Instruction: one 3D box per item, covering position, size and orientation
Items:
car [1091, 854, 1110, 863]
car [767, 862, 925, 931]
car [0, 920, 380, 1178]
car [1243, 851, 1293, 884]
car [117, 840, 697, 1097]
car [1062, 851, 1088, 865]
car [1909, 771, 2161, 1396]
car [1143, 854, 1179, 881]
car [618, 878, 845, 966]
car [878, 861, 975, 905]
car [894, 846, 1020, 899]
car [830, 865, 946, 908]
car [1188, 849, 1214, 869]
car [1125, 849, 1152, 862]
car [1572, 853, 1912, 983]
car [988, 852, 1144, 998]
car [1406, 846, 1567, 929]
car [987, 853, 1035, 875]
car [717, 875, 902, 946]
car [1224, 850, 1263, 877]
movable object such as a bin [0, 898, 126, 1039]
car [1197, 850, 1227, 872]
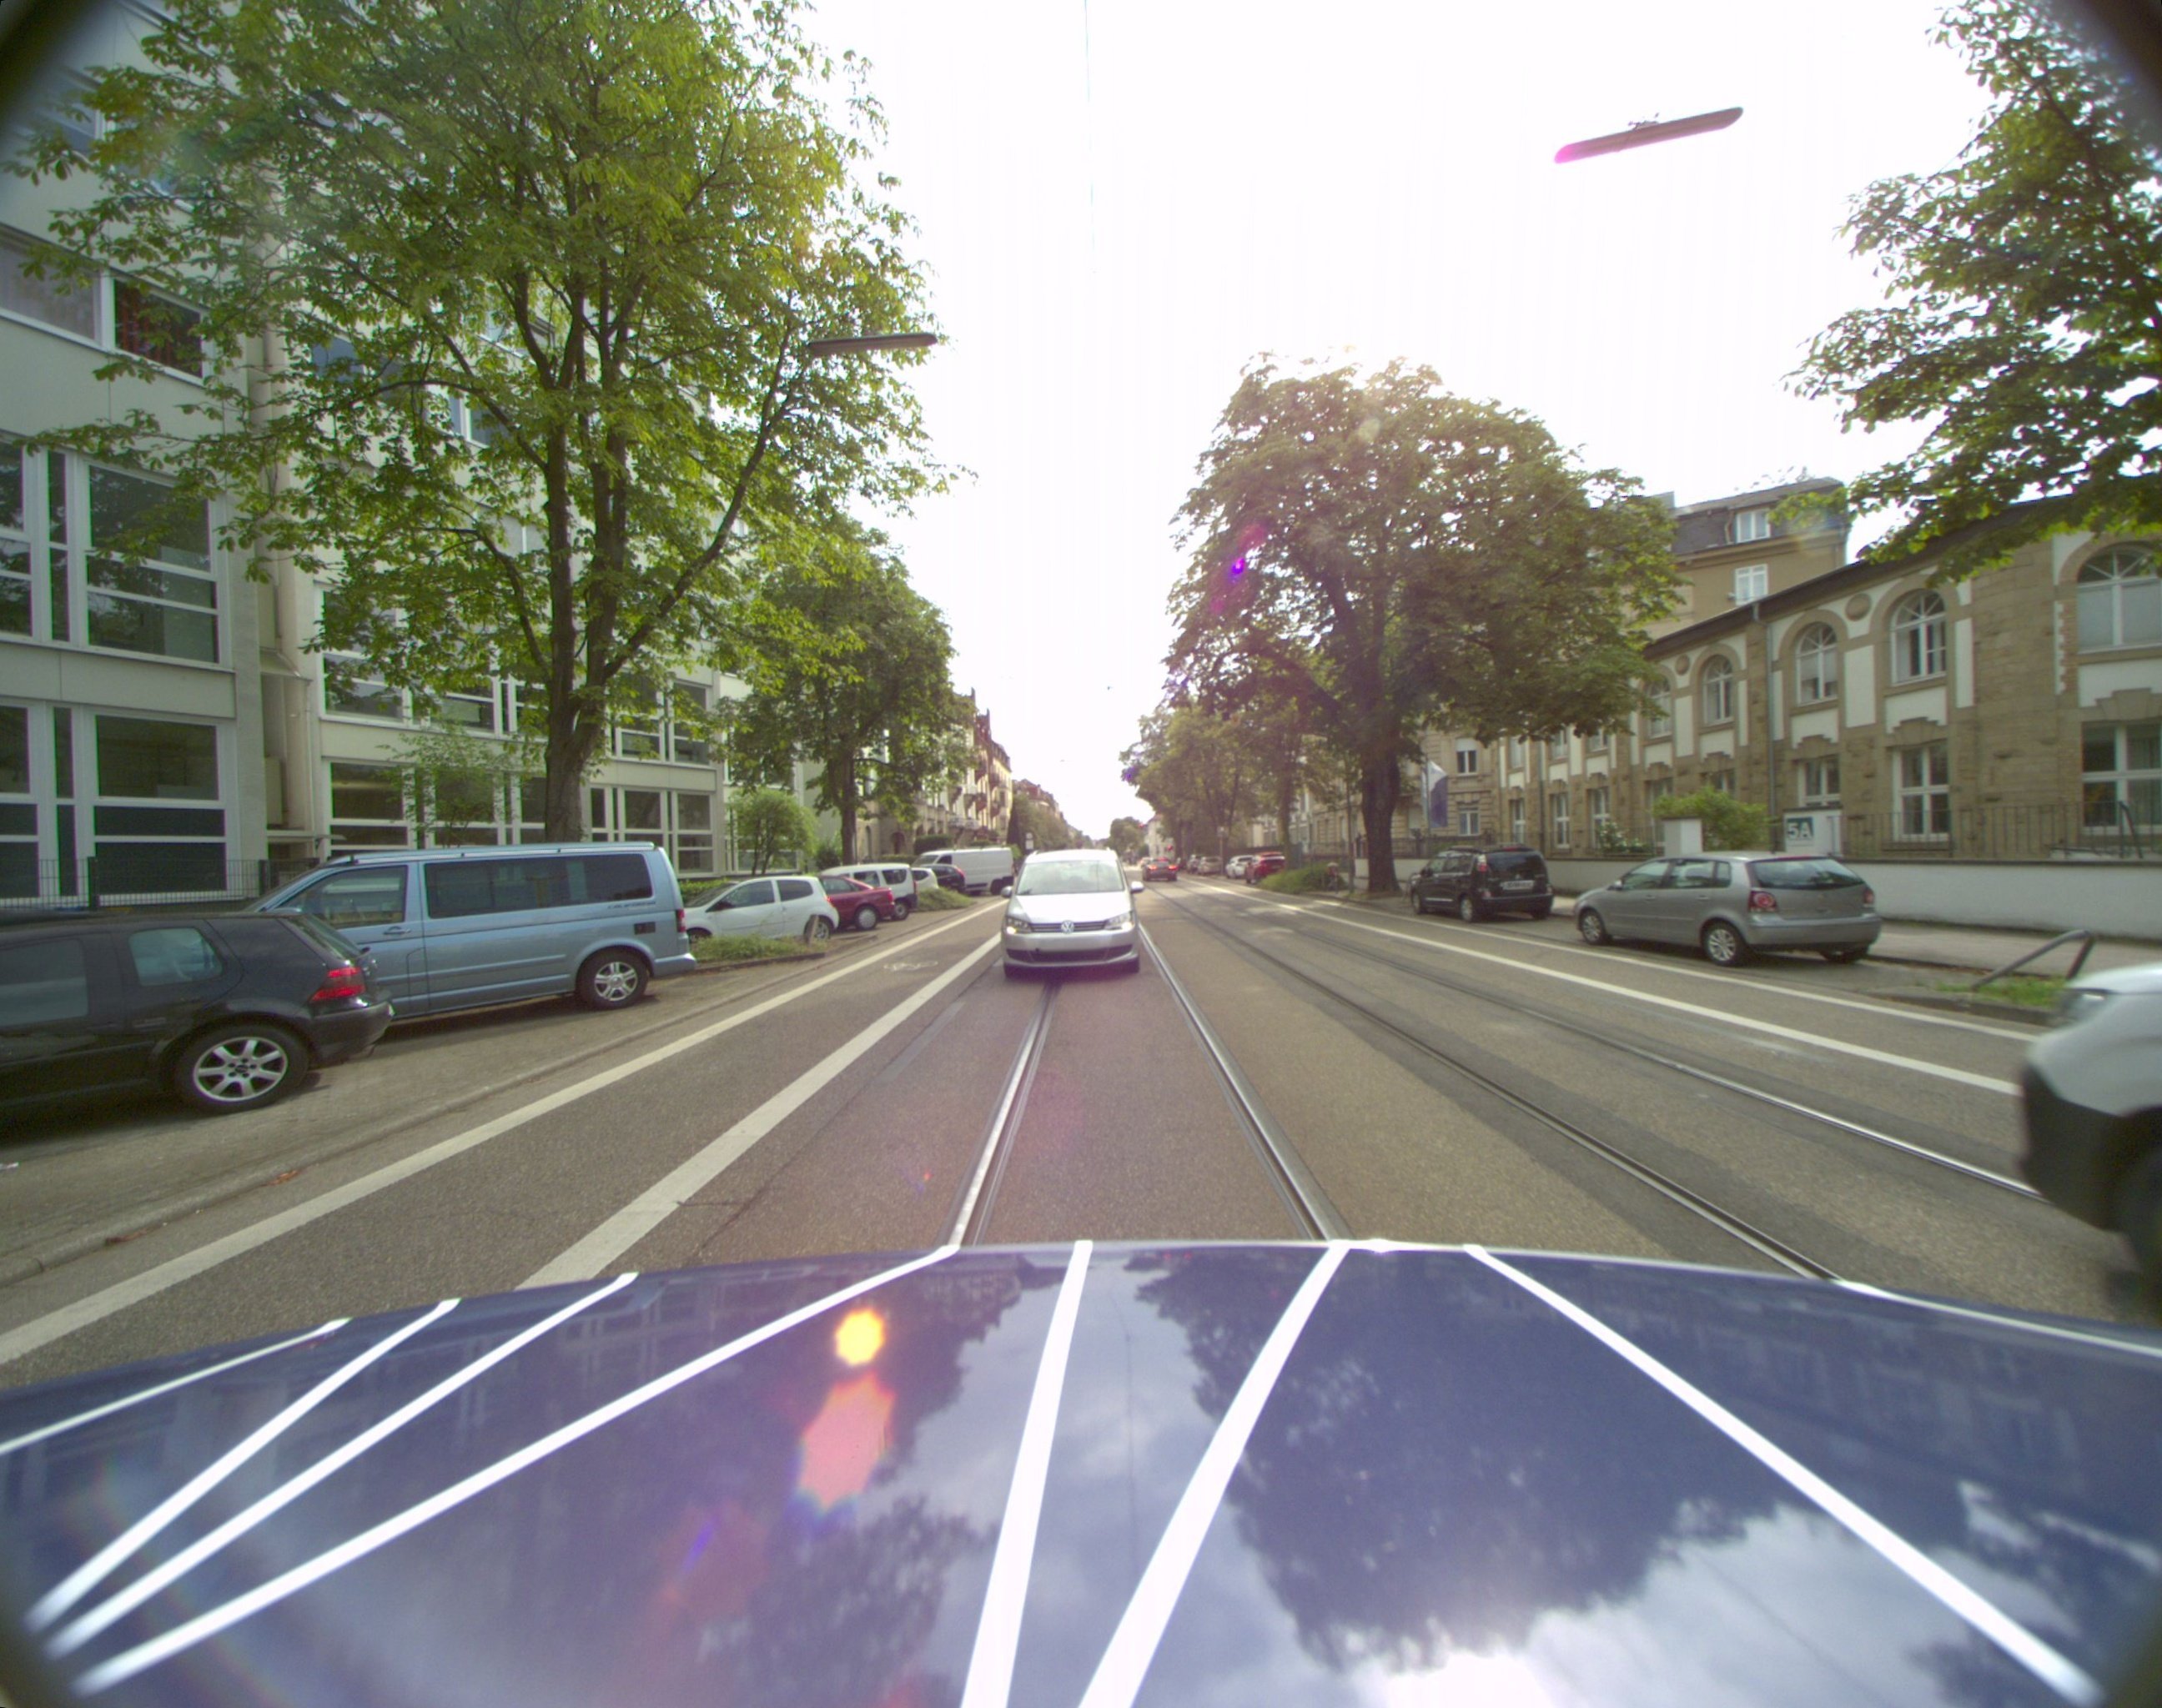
[{"bbox_3d":[4.534,1.008,175.027,3.993,1.797,2.002,-2,1,13],"label":"car"},{"bbox_3d":[-6.539,1.108,21.310,3.777,1.609,1.809,-3,1,-40],"label":"car"},{"bbox_3d":[-7.401,1.317,5.008,3.980,1.379,1.810,-3,-1,-44],"label":"car"},{"bbox_3d":[9.761,0.680,39.943,1.659,1.624,3.906,-2,0,1],"label":"car"},{"bbox_3d":[-6.984,0.932,8.455,4.354,2.052,1.994,-2,0,-45],"label":"car"},{"bbox_3d":[-0.960,0.652,124.874,3.995,2.002,2.001,-2,0,5],"label":"car"},{"bbox_3d":[3.984,0.636,0.491,1.799,1.813,4.678,-2,0,1],"label":"car"},{"bbox_3d":[4.867,0.806,46.902,1.786,1.506,4.144,-2,0,1],"label":"car"},{"bbox_3d":[-6.846,1.240,15.094,3.652,1.322,1.763,-3,1,-44],"label":"car"},{"bbox_3d":[-6.473,1.166,31.811,3.649,1.580,1.764,-2,1,-25],"label":"car"},{"bbox_3d":[-5.715,0.819,35.490,5.449,2.163,2.142,-2,1,-40],"label":"car"},{"bbox_3d":[-6.967,1.136,27.678,3.652,1.322,1.763,-3,1,-44],"label":"car"},{"bbox_3d":[10.461,0.410,66.554,1.659,1.624,3.906,-2,0,1],"label":"car"},{"bbox_3d":[9.330,0.276,122.409,3.993,2.002,2.002,-2,0,12],"label":"car"},{"bbox_3d":[8.840,0.741,10.621,1.632,1.456,3.574,-2,0,1],"label":"car"},{"bbox_3d":[-0.149,0.850,11.450,1.816,1.691,4.617,-2,0,1],"label":"car"},{"bbox_3d":[8.988,0.681,17.209,1.659,1.624,3.725,-2,0,1],"label":"car"},{"bbox_3d":[-5.918,0.821,64.085,3.649,1.666,1.764,-2,1,-25],"label":"car"},{"bbox_3d":[-6.502,1.279,18.393,3.777,1.331,1.809,-2,1,-40],"label":"car"},{"bbox_3d":[10.339,0.574,48.702,1.659,1.592,3.906,-2,0,1],"label":"car"},{"bbox_3d":[-12.249,1.279,8.492,1.334,1.450,1.400,-2,0,5],"label":"movable object such as a bin"},{"bbox_3d":[10.150,0.504,59.243,1.659,1.624,3.906,-2,0,1],"label":"car"}]
